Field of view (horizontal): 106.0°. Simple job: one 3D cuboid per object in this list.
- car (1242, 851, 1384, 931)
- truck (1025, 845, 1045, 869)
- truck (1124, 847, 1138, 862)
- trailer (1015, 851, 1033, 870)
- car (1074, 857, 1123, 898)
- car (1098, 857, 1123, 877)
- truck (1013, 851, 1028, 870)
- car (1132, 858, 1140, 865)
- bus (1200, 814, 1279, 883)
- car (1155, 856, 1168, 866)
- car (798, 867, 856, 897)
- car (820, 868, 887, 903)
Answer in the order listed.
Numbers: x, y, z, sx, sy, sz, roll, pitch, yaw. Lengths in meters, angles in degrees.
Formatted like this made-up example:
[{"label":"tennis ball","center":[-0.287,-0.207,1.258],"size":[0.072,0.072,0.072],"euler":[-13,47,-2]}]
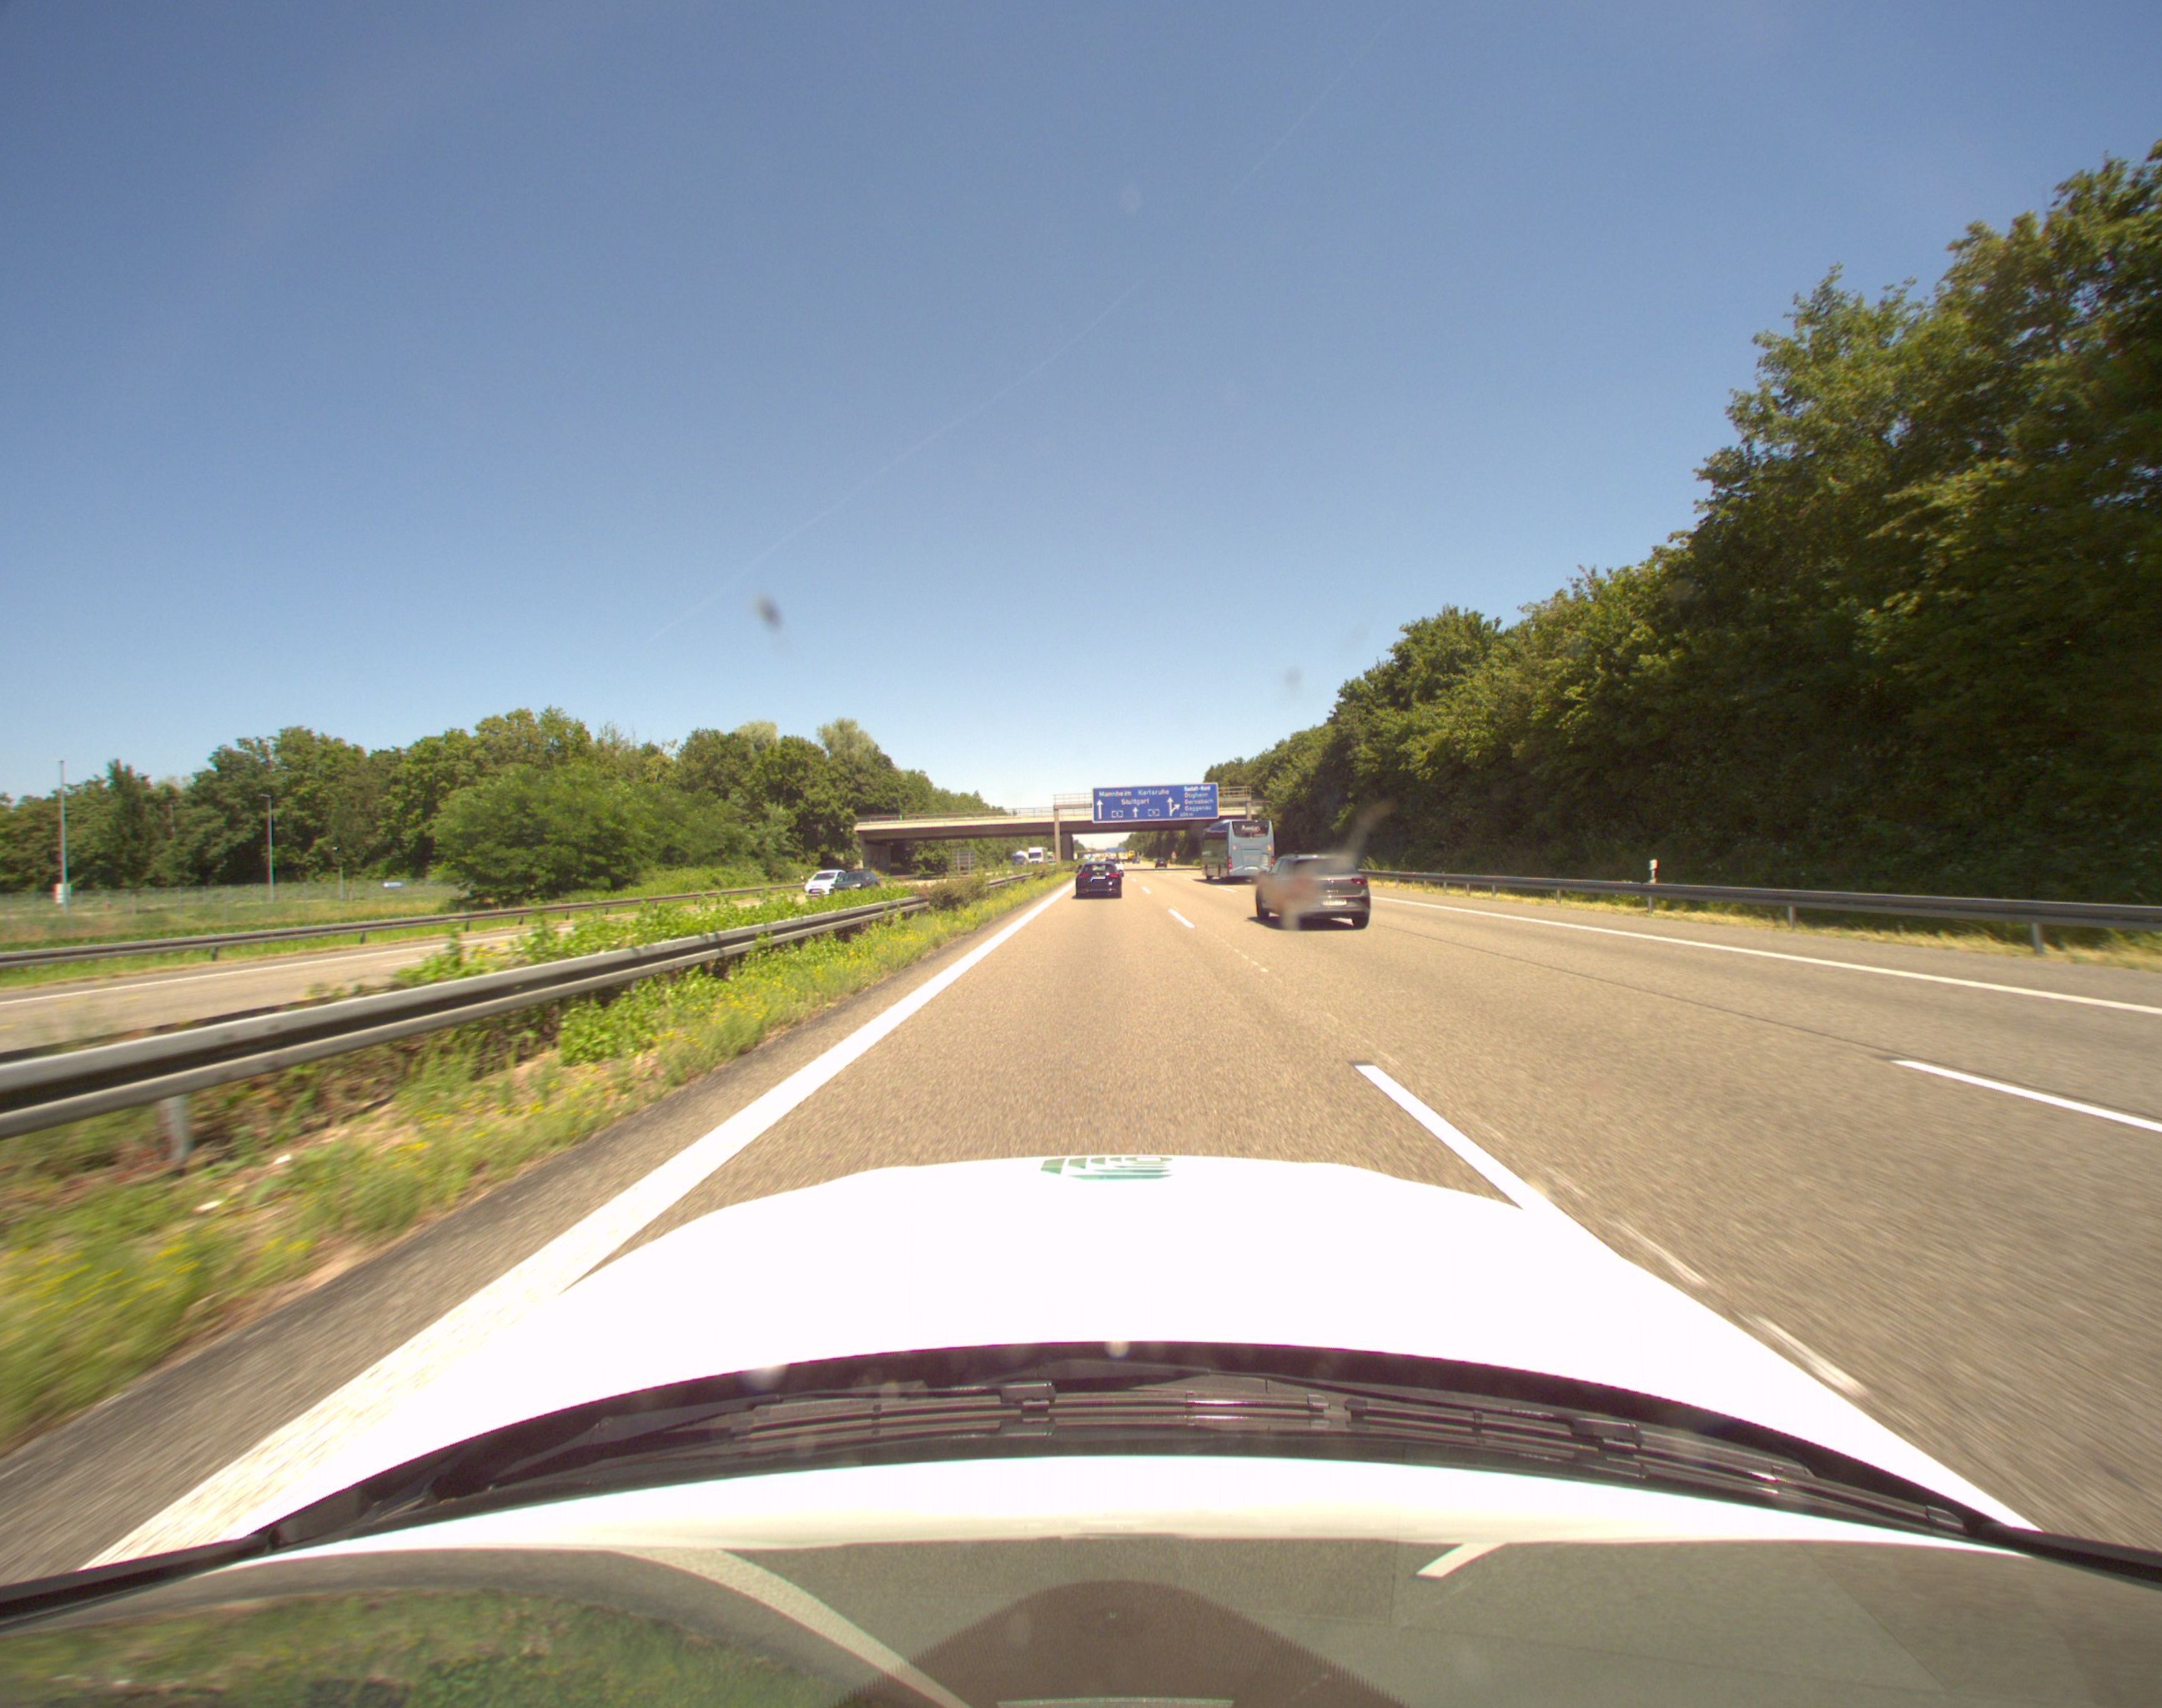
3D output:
[{"label":"car","center":[5.019,0.727,18.354],"size":[1.892,1.532,4.760],"euler":[-1,0,1]},{"label":"truck","center":[-8.547,0.501,151.996],"size":[2.818,4.211,5.891],"euler":[-4,0,2]},{"label":"truck","center":[16.027,0.281,263.025],"size":[3.634,4.590,15.768],"euler":[0,-1,1]},{"label":"trailer","center":[-11.852,1.311,171.268],"size":[2.350,3.794,12.080],"euler":[-4,0,2]},{"label":"car","center":[0.676,0.877,32.330],"size":[1.793,1.502,4.242],"euler":[-1,0,1]},{"label":"car","center":[2.393,1.037,66.884],"size":[1.892,1.532,4.242],"euler":[-1,0,1]},{"label":"truck","center":[-12.121,1.287,163.860],"size":[2.351,3.775,5.254],"euler":[-4,0,2]},{"label":"car","center":[14.349,1.958,212.379],"size":[2.072,1.532,4.244],"euler":[-1,0,3]},{"label":"bus","center":[9.276,-0.254,49.246],"size":[2.791,3.596,12.480],"euler":[-1,0,2]},{"label":"car","center":[12.149,1.070,123.172],"size":[1.782,1.461,3.952],"euler":[-1,0,3]},{"label":"car","center":[-15.334,1.648,49.417],"size":[1.893,1.594,4.744],"euler":[-3,-1,1]},{"label":"car","center":[-11.970,1.631,43.216],"size":[1.893,1.532,5.033],"euler":[-5,-1,1]}]
